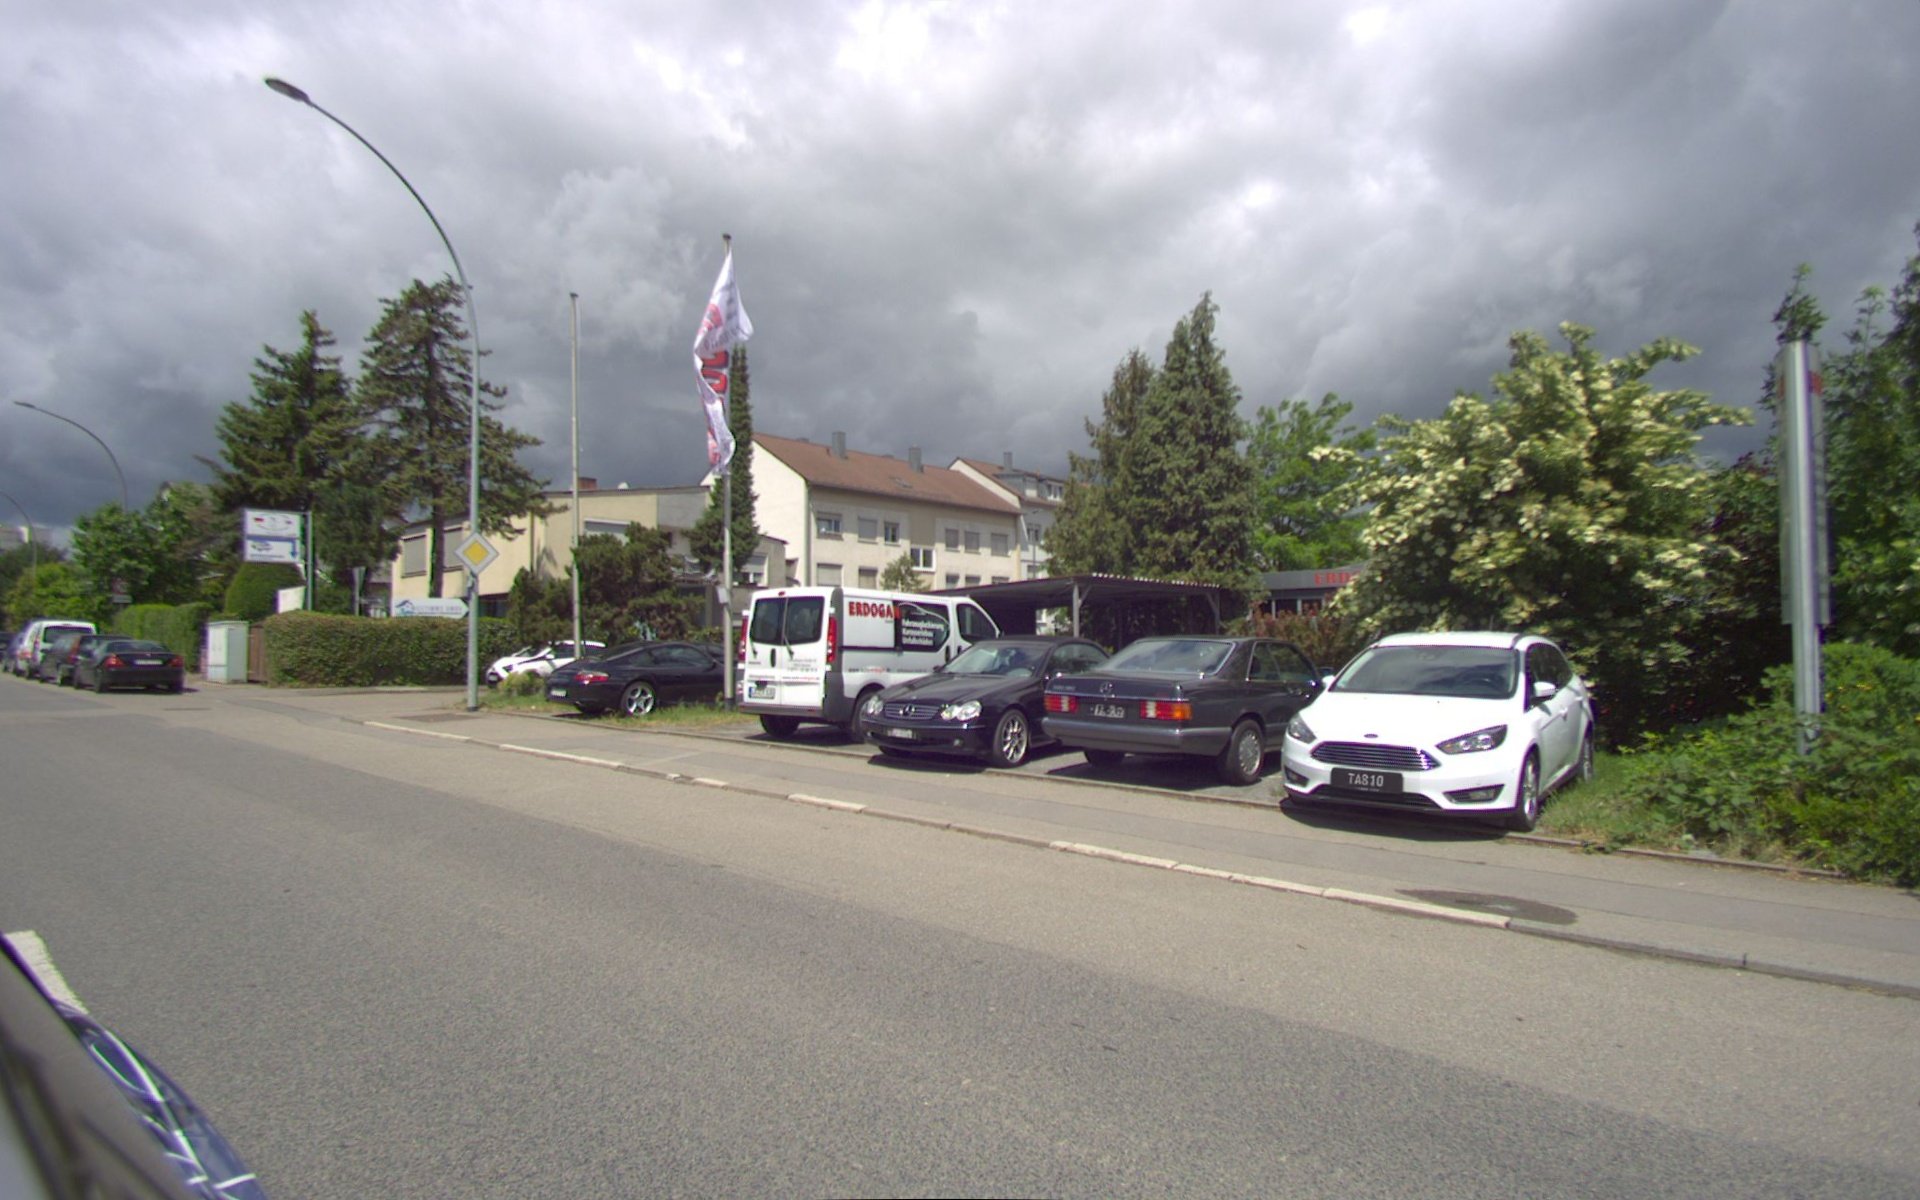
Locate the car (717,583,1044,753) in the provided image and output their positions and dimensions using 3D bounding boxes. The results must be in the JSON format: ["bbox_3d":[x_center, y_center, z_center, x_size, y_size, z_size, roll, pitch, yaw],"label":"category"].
[{"bbox_3d":[-0.942,0.896,14.400,2.112,1.987,4.607,-2,-3,38],"label":"car"}]

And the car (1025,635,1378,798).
[{"bbox_3d":[2.660,1.055,10.591,1.872,1.366,3.943,-3,-3,43],"label":"car"}]

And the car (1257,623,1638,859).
[{"bbox_3d":[4.390,0.970,8.722,1.871,1.489,4.328,0,-2,41],"label":"car"}]

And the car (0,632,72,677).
[{"bbox_3d":[-33.359,1.973,36.284,3.997,1.498,1.623,-2,-6,40],"label":"car"}]

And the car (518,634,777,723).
[{"bbox_3d":[-5.365,1.297,17.744,1.870,1.213,3.947,-2,-1,39],"label":"car"}]

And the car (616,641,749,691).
[{"bbox_3d":[-8.663,2.090,31.804,1.842,1.489,3.631,-2,-5,38],"label":"car"}]

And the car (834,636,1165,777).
[{"bbox_3d":[0.620,1.097,11.828,1.870,1.325,3.947,-1,-2,40],"label":"car"}]

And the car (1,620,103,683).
[{"bbox_3d":[-29.067,1.647,32.348,4.352,1.852,1.725,-2,-6,40],"label":"car"}]

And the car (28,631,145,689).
[{"bbox_3d":[-24.788,1.707,28.668,4.640,1.483,1.725,-2,-6,40],"label":"car"}]

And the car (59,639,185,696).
[{"bbox_3d":[-21.263,1.704,25.632,4.112,1.314,1.614,-2,-6,39],"label":"car"}]

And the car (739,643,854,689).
[{"bbox_3d":[-5.649,2.312,35.295,1.842,1.489,3.631,-2,-5,38],"label":"car"}]

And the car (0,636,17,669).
[{"bbox_3d":[-45.208,2.431,46.799,4.731,1.504,1.702,-2,-4,40],"label":"car"}]

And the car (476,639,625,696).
[{"bbox_3d":[-11.499,1.916,28.555,1.613,1.489,3.514,-2,-5,42],"label":"car"}]
